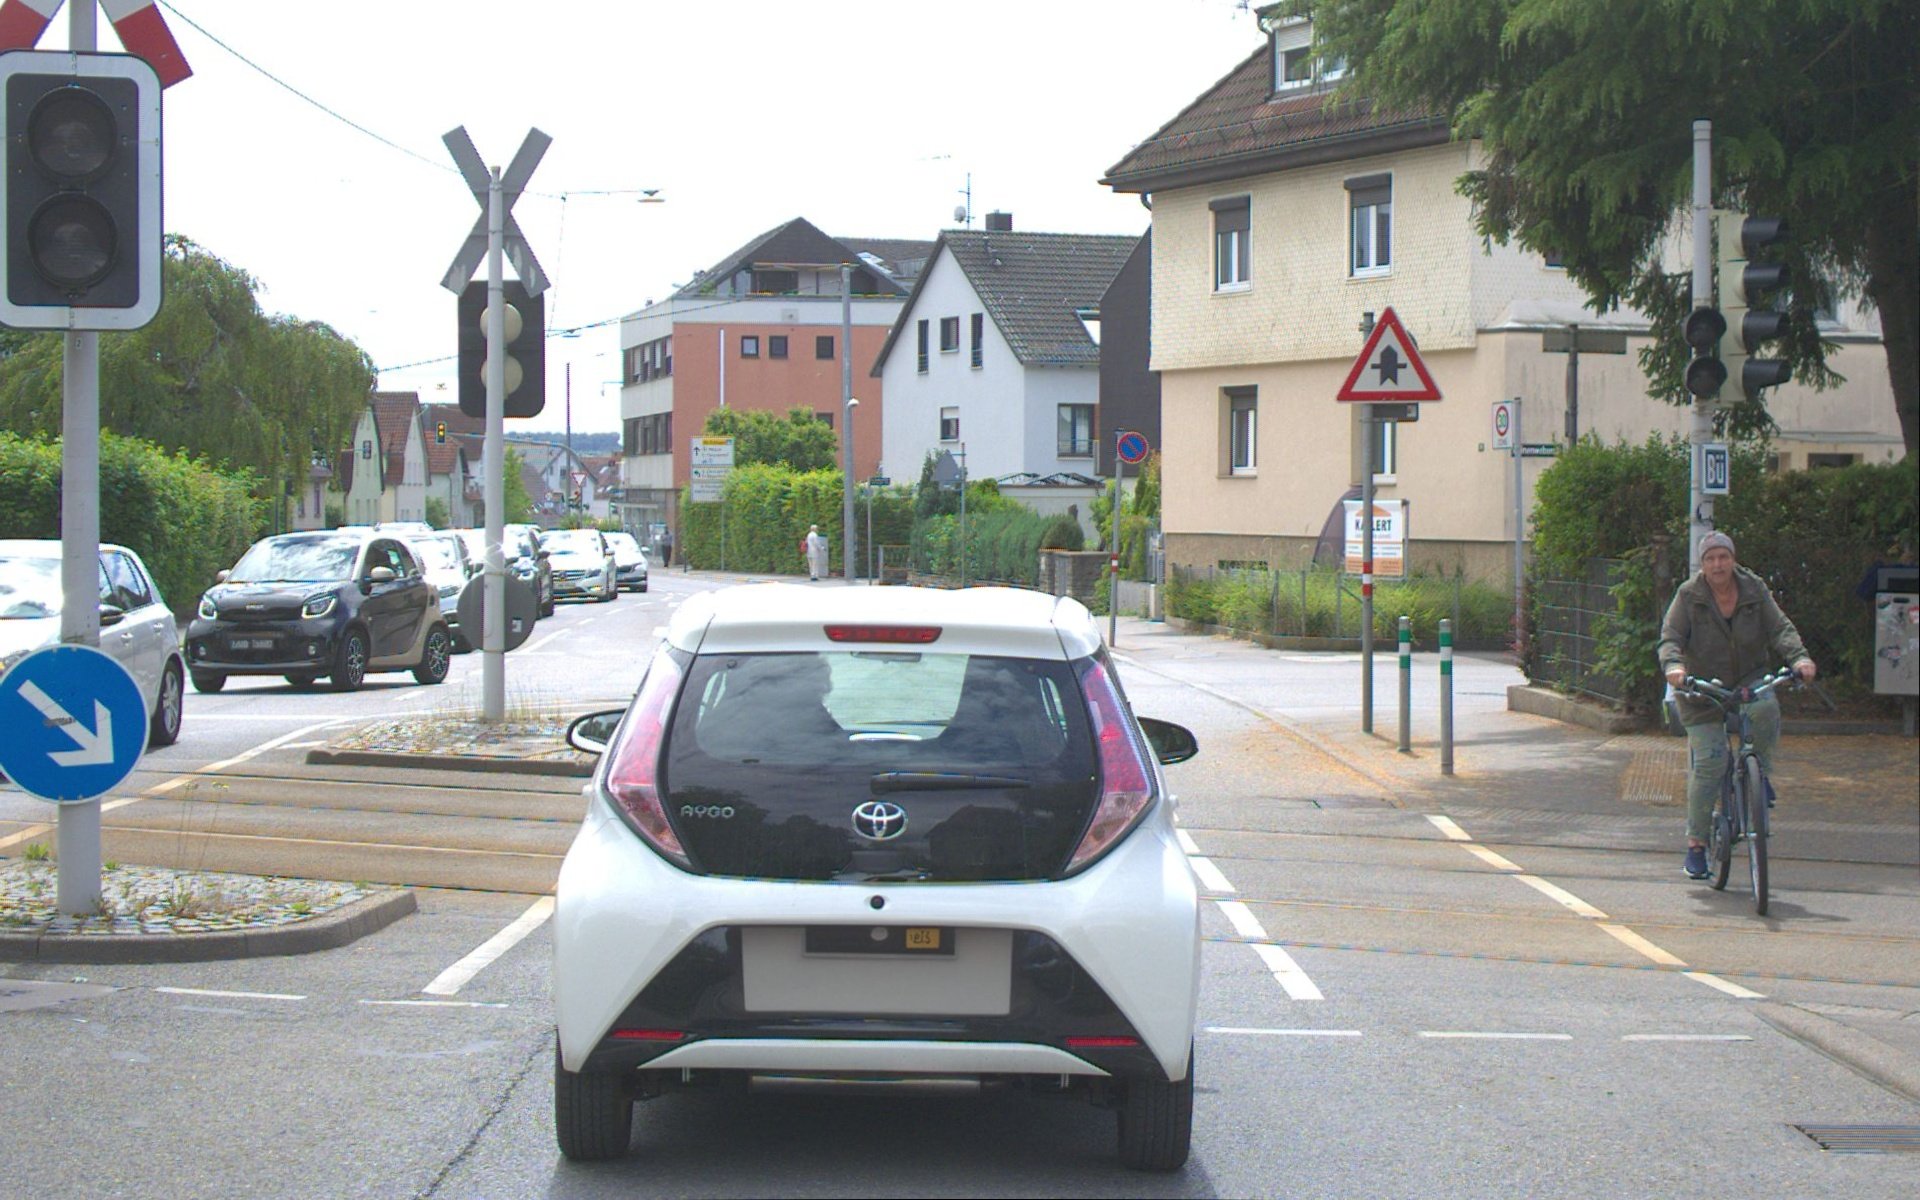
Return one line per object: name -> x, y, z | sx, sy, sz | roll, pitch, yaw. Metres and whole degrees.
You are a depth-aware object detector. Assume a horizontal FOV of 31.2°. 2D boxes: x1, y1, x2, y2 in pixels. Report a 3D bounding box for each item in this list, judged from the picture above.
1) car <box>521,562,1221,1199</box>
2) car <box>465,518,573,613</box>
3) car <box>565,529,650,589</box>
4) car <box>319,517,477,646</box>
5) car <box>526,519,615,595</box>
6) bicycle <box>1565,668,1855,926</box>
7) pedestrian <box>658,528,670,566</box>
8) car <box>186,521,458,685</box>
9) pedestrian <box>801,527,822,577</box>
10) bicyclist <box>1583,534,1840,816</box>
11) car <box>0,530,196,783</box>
car -> -0.226, 0.652, 10.147 | 1.621, 1.481, 4.000 | 2, 1, 0
car -> -7.740, -0.630, 60.625 | 1.774, 1.598, 4.170 | 1, 1, -6
car -> -8.783, -1.031, 85.340 | 1.774, 1.425, 4.523 | 1, 1, -10
car -> -7.308, -0.270, 44.974 | 1.774, 1.598, 4.040 | 1, 1, -6
car -> -8.351, -0.941, 73.538 | 1.774, 1.556, 4.170 | 1, 1, -8
bicycle -> 3.445, 0.879, 15.984 | 0.932, 1.037, 1.915 | 1, 1, 1
pedestrian -> -11.181, -2.015, 129.890 | 0.413, 1.433, 0.438 | 1, 1, -10
car -> -6.167, 0.021, 33.485 | 1.576, 1.505, 2.786 | -1, 0, 14
pedestrian -> -4.294, -1.379, 99.548 | 0.436, 1.433, 0.414 | 0, 2, -35
bicyclist -> 3.460, 0.327, 15.926 | 0.932, 1.243, 1.102 | 1, 1, 1
car -> -6.483, 0.303, 23.093 | 1.688, 1.453, 4.070 | 1, 2, 2
